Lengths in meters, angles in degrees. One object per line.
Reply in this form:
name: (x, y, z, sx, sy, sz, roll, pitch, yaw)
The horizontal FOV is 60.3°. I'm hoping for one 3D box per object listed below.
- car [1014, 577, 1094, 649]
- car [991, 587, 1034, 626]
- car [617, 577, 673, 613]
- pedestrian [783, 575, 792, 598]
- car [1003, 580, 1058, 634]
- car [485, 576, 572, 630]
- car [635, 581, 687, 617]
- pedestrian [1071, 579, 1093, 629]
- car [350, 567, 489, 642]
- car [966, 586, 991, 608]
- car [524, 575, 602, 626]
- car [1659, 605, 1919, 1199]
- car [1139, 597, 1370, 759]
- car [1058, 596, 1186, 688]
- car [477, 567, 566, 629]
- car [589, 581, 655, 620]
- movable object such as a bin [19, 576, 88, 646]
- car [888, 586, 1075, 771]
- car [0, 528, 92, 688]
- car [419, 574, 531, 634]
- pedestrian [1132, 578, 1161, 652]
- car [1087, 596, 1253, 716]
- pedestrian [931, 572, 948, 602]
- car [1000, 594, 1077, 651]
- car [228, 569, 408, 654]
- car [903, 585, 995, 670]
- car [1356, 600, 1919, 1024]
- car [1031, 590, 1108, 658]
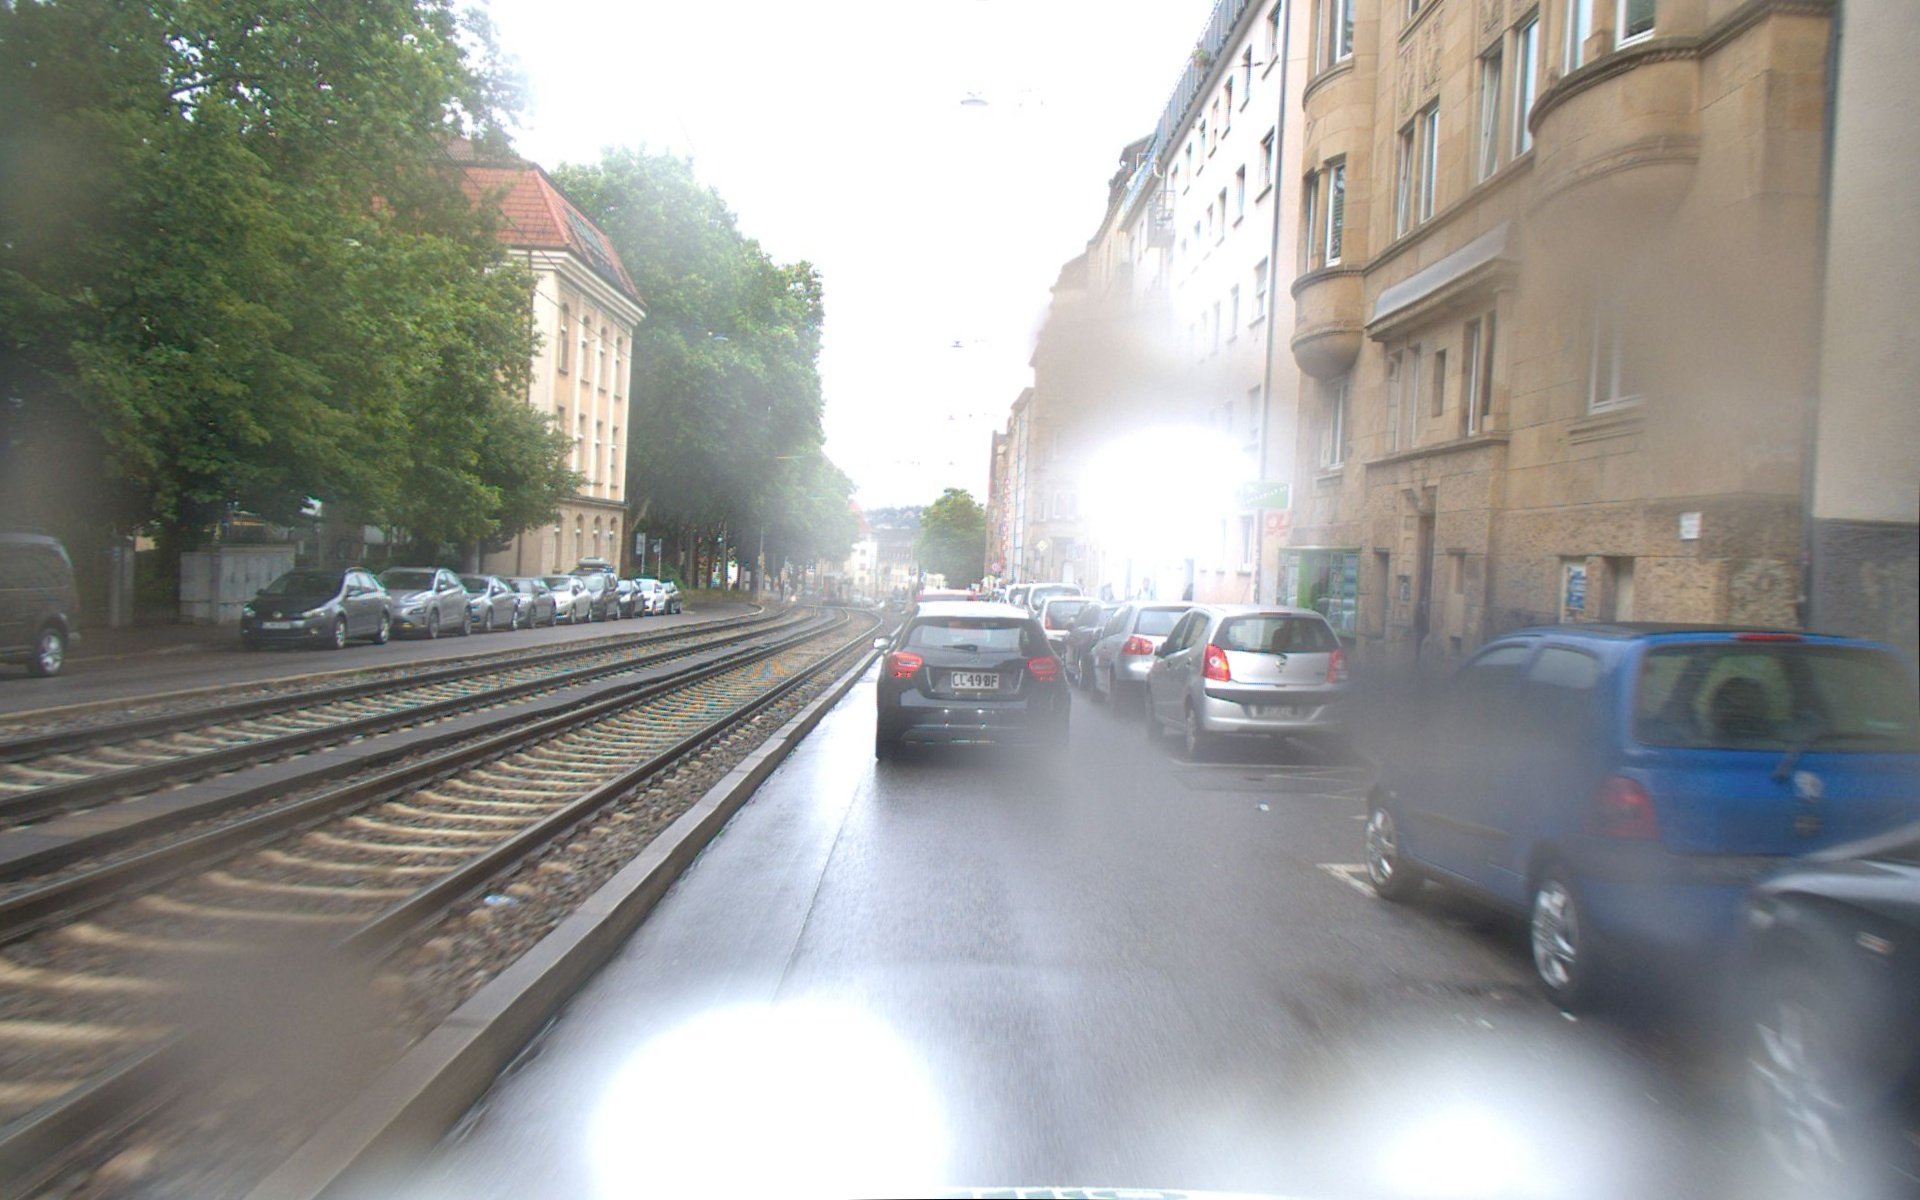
car: (2.416, 0.309, 43.426, 1.754, 1.796, 4.211, 0, 0, -1)
car: (2.247, 0.260, 71.228, 1.659, 1.556, 4.000, 2, 0, 0)
car: (-12.672, -0.208, 66.750, 1.469, 1.415, 3.987, 0, 0, 1)
pedestrian: (-13.488, -1.040, 129.569, 0.523, 1.784, 0.607, 3, 0, 0)
car: (2.437, 0.225, 58.061, 1.790, 1.781, 4.467, 1, 0, 1)
car: (-12.209, 0.071, 46.964, 1.508, 1.438, 3.952, 0, 0, -1)
car: (-12.846, -0.060, 71.196, 1.581, 1.454, 3.852, 1, 1, -1)
pedestrian: (4.603, 0.140, 62.546, 0.730, 1.865, 1.039, -1, 0, 1)
car: (-12.039, 0.081, 37.166, 1.718, 1.563, 4.542, 0, 0, -1)
car: (1.383, -0.231, 125.716, 1.790, 1.646, 3.864, 0, 1, 0)
car: (-12.437, -0.010, 52.002, 1.508, 1.531, 4.153, 0, 0, -1)
car: (3.015, 0.791, 2.872, 1.751, 1.488, 4.082, 1, 0, -2)
car: (2.916, 0.720, 17.066, 1.558, 1.459, 3.682, 1, 0, -3)
car: (2.729, 0.666, 28.726, 1.636, 1.434, 4.310, 1, 0, -2)
car: (-12.442, -0.078, 47.128, 1.544, 1.672, 4.071, 0, 0, -1)
car: (-12.693, -0.001, 62.345, 1.640, 1.438, 4.010, 0, 0, 1)
movable object such as a bin: (-15.399, 0.185, 28.117, 0.702, 1.140, 0.773, 2, 0, 1)
car: (0.152, 0.651, 15.788, 1.548, 1.531, 3.574, 1, 0, -1)
car: (-12.132, 0.092, 19.048, 1.764, 1.879, 4.818, 0, 0, -1)
car: (-12.356, 0.086, 42.343, 1.718, 1.438, 4.152, 0, 0, -1)
pedestrian: (4.555, 0.364, 40.421, 0.594, 1.794, 0.688, 0, 0, -2)
car: (2.764, 0.693, 22.541, 1.634, 1.459, 3.955, 1, 0, -2)
pedestrian: (-1.426, -0.869, 113.507, 1.115, 2.033, 1.171, 0, 0, -5)
car: (2.238, 0.613, 48.393, 1.833, 1.481, 4.901, 1, 1, -2)
car: (-12.169, 0.185, 31.665, 1.812, 1.489, 4.548, 0, 0, -2)
car: (-0.238, 0.520, 34.106, 1.749, 1.608, 4.000, 1, 0, -1)
car: (3.027, 0.748, 7.506, 1.512, 1.439, 3.445, 1, 0, -2)
car: (2.528, 0.528, 38.914, 1.538, 1.487, 3.599, 1, 0, 0)
